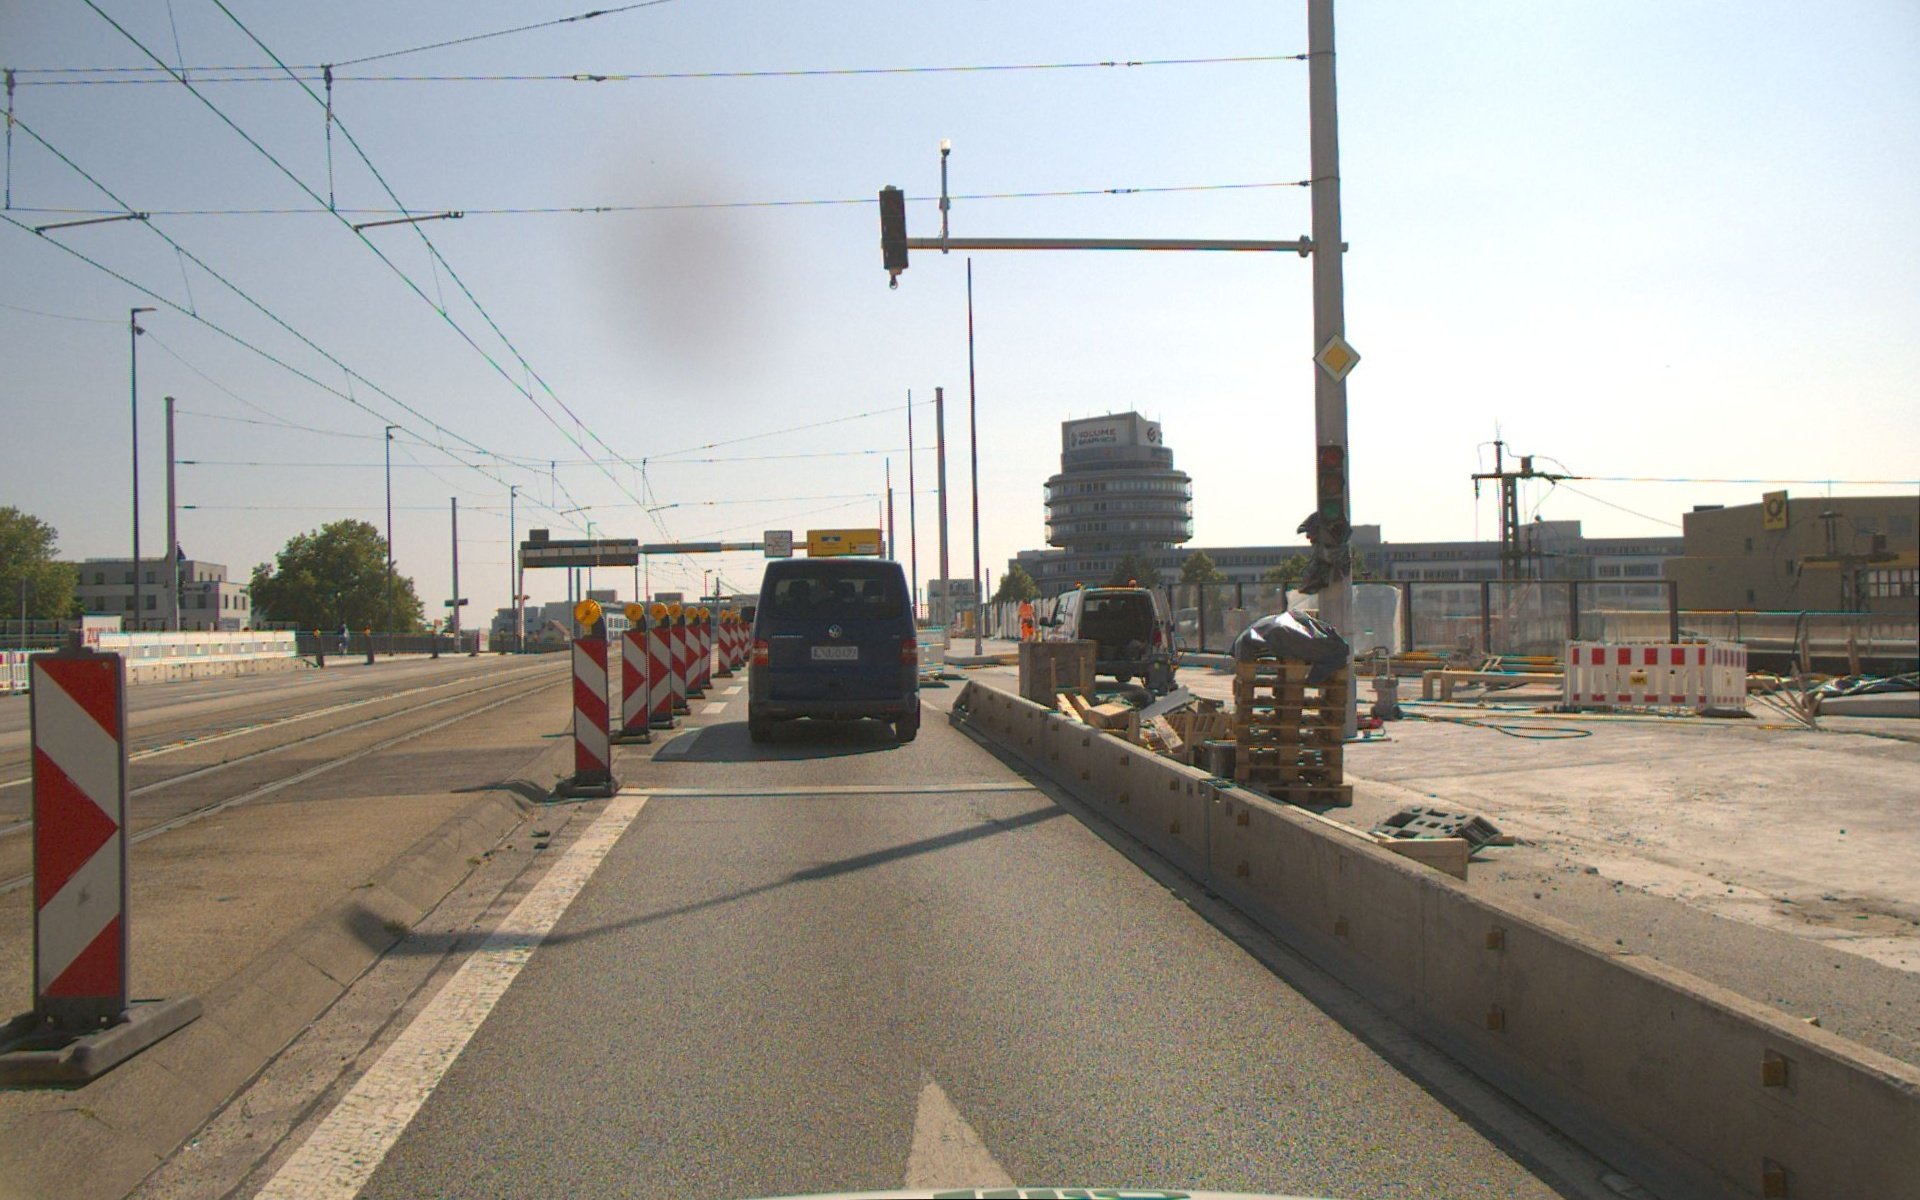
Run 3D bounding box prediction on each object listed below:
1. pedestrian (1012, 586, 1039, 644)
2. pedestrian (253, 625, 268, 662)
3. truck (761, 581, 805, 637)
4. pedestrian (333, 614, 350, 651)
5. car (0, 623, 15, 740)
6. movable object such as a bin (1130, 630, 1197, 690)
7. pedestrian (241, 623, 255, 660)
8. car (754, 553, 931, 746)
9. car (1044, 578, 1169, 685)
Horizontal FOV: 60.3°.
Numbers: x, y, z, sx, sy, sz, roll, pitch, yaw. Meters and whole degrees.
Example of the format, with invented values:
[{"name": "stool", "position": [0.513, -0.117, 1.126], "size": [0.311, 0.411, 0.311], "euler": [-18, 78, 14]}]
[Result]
[{"name": "pedestrian", "position": [2.282, 0.526, 57.923], "size": [0.767, 1.969, 0.798], "euler": [-3, -1, -6]}, {"name": "pedestrian", "position": [-32.860, 2.043, 77.701], "size": [0.485, 1.724, 0.473], "euler": [0, -2, -6]}, {"name": "truck", "position": [-10.696, 0.526, 100.453], "size": [2.413, 3.189, 11.202], "euler": [-2, 0, -6]}, {"name": "pedestrian", "position": [-31.884, 1.668, 85.254], "size": [0.622, 1.927, 0.751], "euler": [0, -1, -6]}, {"name": "car", "position": [-13.201, 1.104, 19.944], "size": [1.476, 1.526, 4.173], "euler": [-3, 0, -5]}, {"name": "movable object such as a bin", "position": [3.813, 1.112, 30.985], "size": [0.925, 1.093, 0.886], "euler": [-1, -1, 41]}, {"name": "pedestrian", "position": [-33.552, 1.964, 77.964], "size": [0.485, 1.724, 0.473], "euler": [0, -2, -6]}, {"name": "car", "position": [-1.413, 0.511, 19.073], "size": [1.781, 1.939, 4.049], "euler": [-1, 0, -6]}, {"name": "car", "position": [2.970, 0.652, 34.597], "size": [1.842, 2.069, 4.886], "euler": [0, -1, -4]}]
